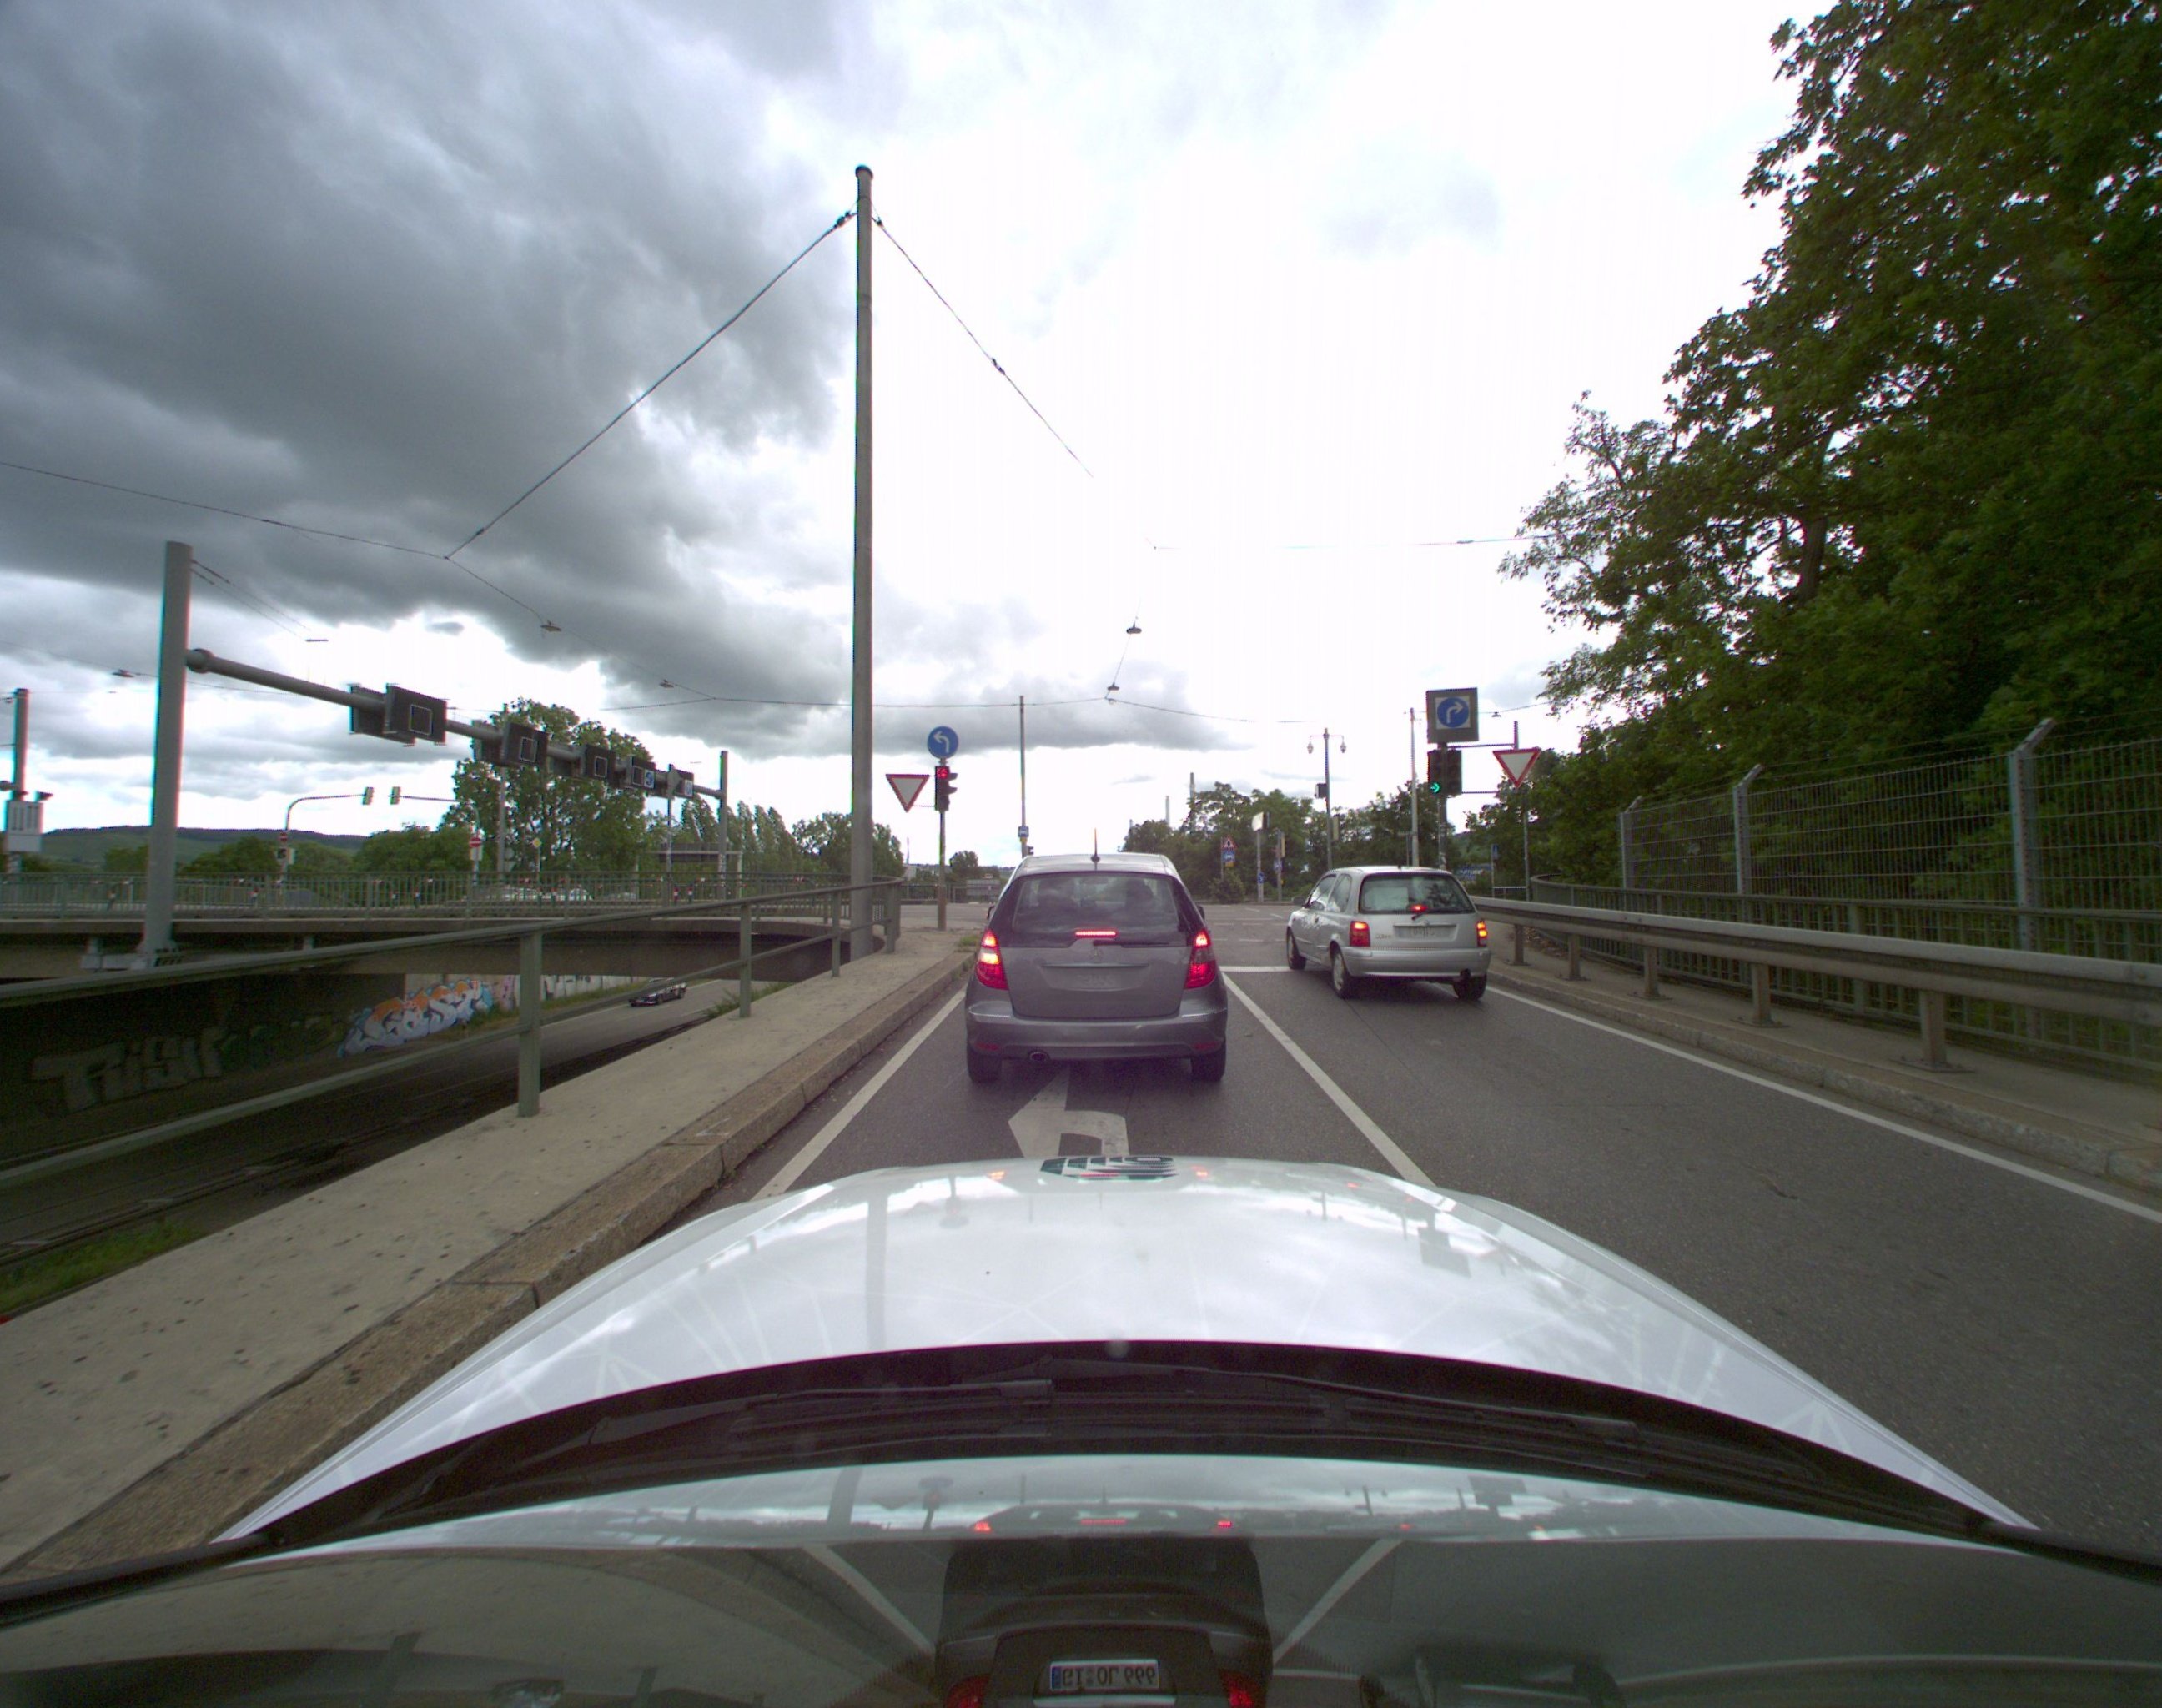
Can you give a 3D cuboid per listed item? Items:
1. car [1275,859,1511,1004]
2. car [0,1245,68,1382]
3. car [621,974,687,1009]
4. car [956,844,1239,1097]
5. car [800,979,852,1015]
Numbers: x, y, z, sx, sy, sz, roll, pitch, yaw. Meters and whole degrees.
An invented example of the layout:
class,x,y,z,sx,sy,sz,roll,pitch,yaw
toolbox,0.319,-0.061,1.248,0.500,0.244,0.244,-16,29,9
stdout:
class,x,y,z,sx,sy,sz,roll,pitch,yaw
car,3.543,0.792,9.911,1.580,1.431,3.443,-1,0,1
car,-16.040,6.507,9.983,1.822,1.579,4.185,-1,-3,3
car,-28.217,9.055,53.988,1.853,1.652,4.634,-2,-3,2
car,0.161,0.733,6.775,1.733,1.543,3.542,0,-1,2
car,-14.721,8.248,47.204,1.685,1.533,3.610,-1,-3,3
